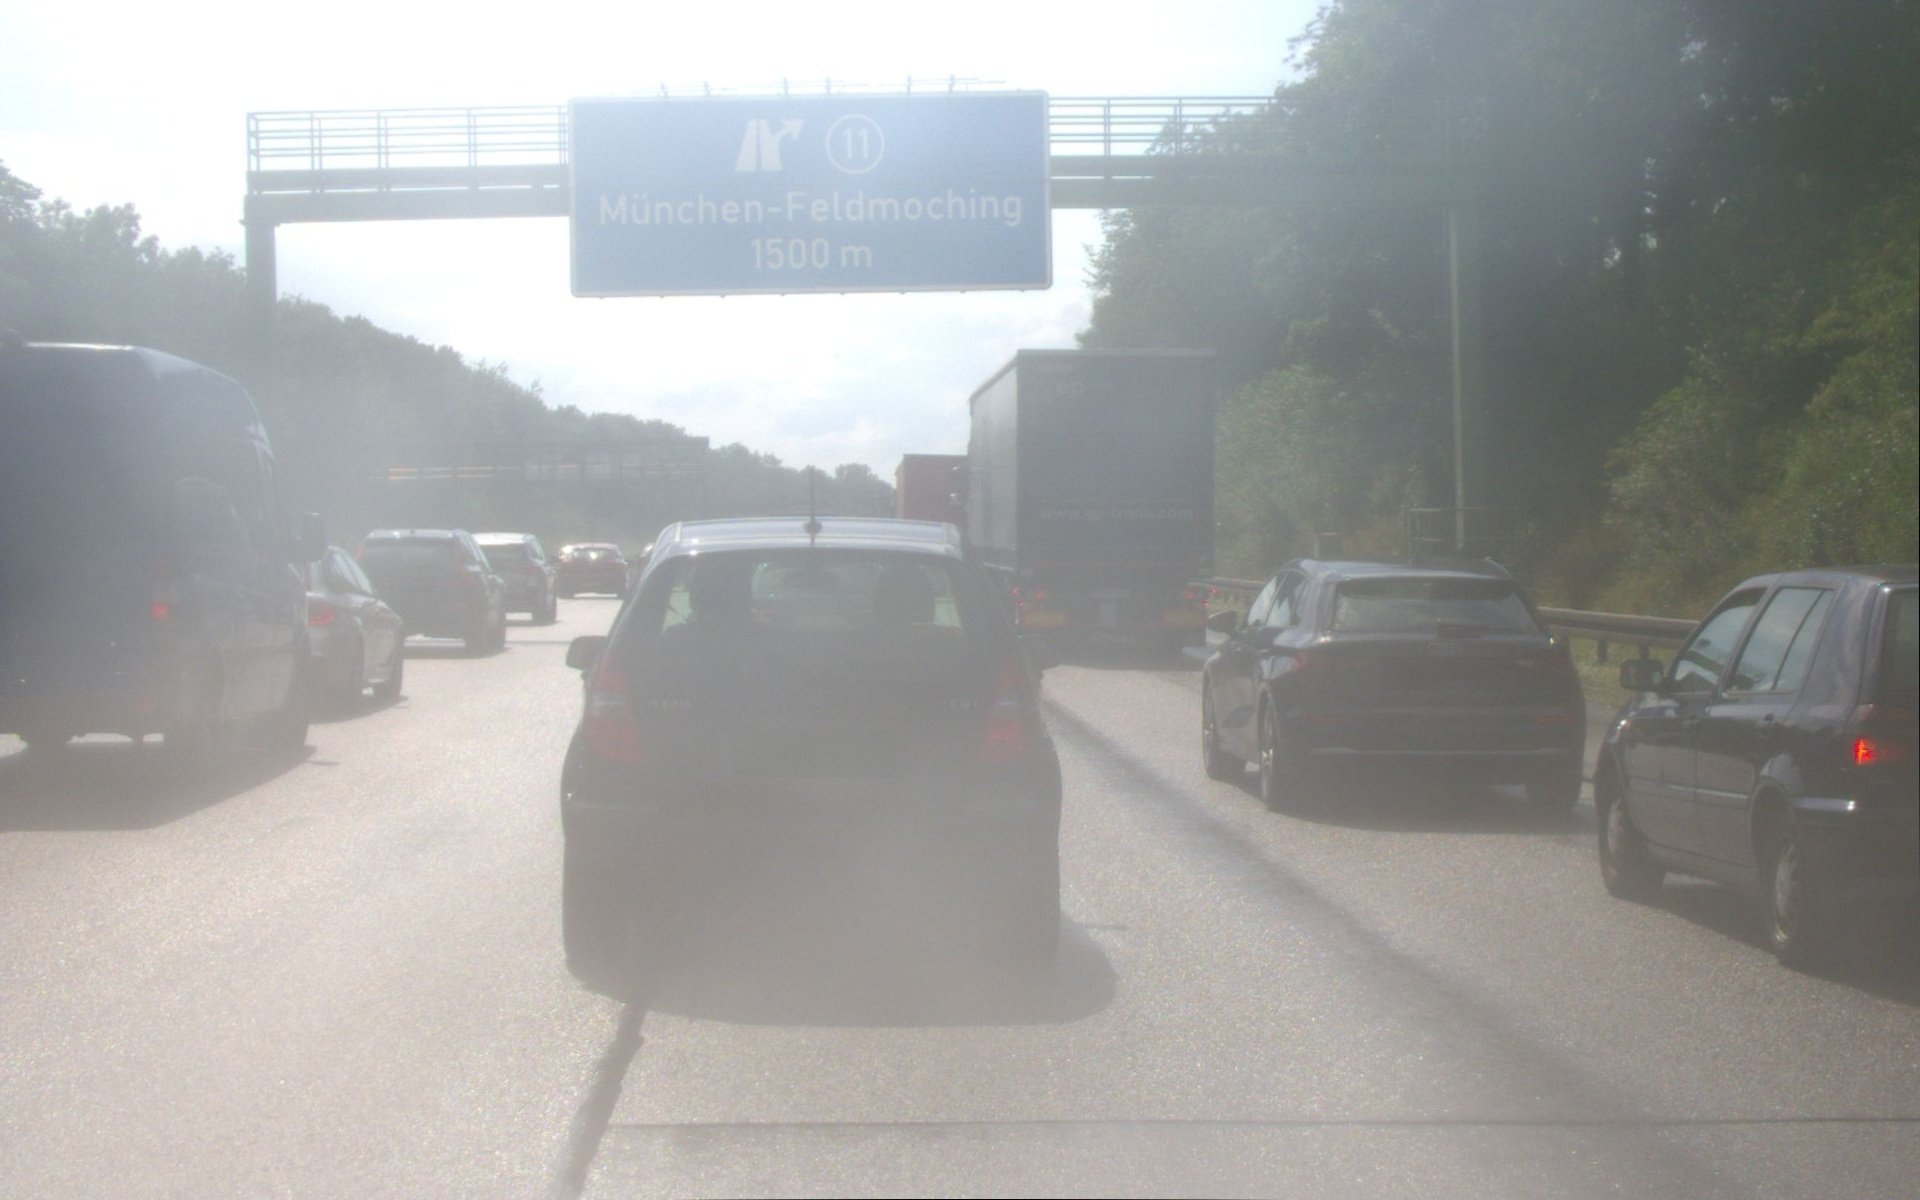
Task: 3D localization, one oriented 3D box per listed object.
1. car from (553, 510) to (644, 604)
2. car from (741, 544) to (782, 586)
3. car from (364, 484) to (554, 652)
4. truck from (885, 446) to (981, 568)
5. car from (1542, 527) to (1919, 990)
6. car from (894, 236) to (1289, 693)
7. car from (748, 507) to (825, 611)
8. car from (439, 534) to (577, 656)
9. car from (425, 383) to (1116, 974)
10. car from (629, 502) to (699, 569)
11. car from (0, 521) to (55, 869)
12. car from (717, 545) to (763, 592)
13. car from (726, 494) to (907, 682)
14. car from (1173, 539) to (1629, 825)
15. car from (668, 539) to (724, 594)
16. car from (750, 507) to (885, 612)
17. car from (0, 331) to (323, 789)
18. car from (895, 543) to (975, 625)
[{"bbox_3d":[-9.443,-1.130,90.106,1.993,2.377,5.260,1,1,-2],"label":"car"},{"bbox_3d":[-10.385,-1.841,180.348,1.993,2.108,4.889,1,1,-2],"label":"car"},{"bbox_3d":[-6.673,-0.434,46.286,1.993,2.108,4.889,1,1,-2],"label":"car"},{"bbox_3d":[-0.884,-2.836,106.521,2.775,3.619,5.917,1,1,-2],"label":"truck"},{"bbox_3d":[3.511,0.504,13.249,1.590,1.511,3.977,1,1,-4],"label":"car"},{"bbox_3d":[1.535,-1.822,52.566,4.403,5.810,16.820,1,1,-3],"label":"car"},{"bbox_3d":[-4.721,-1.117,93.940,1.993,2.737,5.260,1,1,-2],"label":"car"},{"bbox_3d":[-8.130,-0.112,62.154,1.993,2.108,4.889,1,1,-2],"label":"car"},{"bbox_3d":[-0.793,0.240,13.859,2.274,1.948,4.822,1,1,-4],"label":"car"},{"bbox_3d":[-9.534,-2.059,111.083,1.993,2.108,4.889,1,1,-2],"label":"car"},{"bbox_3d":[-5.248,0.430,14.036,1.993,1.559,4.757,1,1,-2],"label":"car"},{"bbox_3d":[-10.186,-1.472,159.551,1.993,2.108,4.889,1,1,-2],"label":"car"},{"bbox_3d":[-1.517,-0.139,35.217,1.692,1.798,3.977,1,1,-4],"label":"car"},{"bbox_3d":[2.478,0.419,20.318,1.864,1.511,3.977,1,1,-5],"label":"car"},{"bbox_3d":[-10.405,-1.318,135.741,1.993,2.108,4.889,1,1,-2],"label":"car"},{"bbox_3d":[-2.208,-0.613,52.368,1.864,1.511,3.977,1,1,-5],"label":"car"},{"bbox_3d":[-5.541,-0.262,22.300,1.993,2.606,5.260,1,1,-2],"label":"car"},{"bbox_3d":[-0.715,-0.446,92.744,1.993,2.108,4.889,1,1,-2],"label":"car"}]
